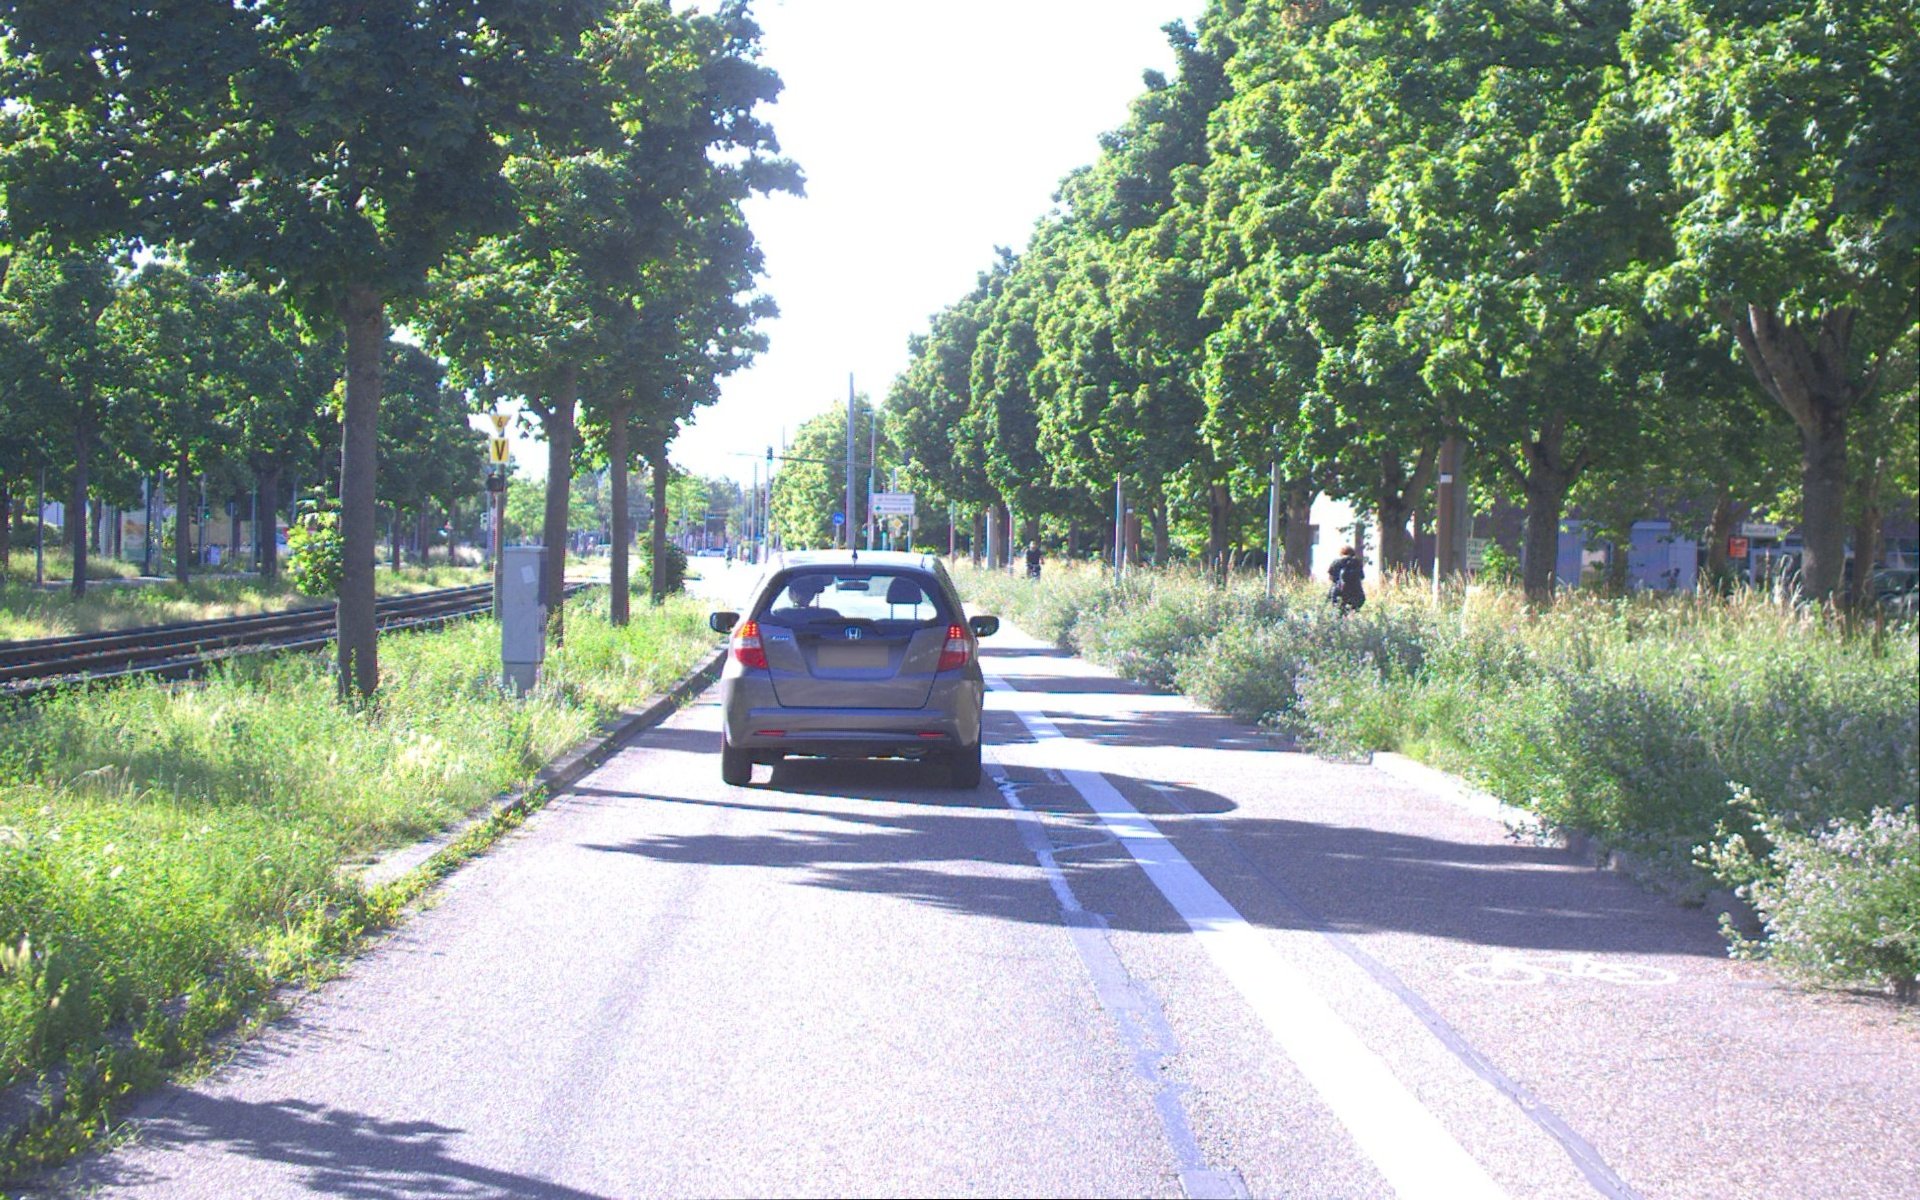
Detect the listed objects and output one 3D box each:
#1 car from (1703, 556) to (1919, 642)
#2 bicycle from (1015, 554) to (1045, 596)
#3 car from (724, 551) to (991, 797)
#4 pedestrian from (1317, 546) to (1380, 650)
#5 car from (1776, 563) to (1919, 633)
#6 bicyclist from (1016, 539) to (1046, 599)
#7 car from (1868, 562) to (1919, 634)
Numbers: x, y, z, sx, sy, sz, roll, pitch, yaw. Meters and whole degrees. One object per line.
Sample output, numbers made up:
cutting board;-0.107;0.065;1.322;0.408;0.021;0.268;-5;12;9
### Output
car;16.315;-0.023;65.212;3.993;1.520;1.707;1;1;-5
bicycle;2.038;-0.726;100.533;0.482;1.200;2.144;1;-1;-9
car;-0.714;0.435;23.019;1.624;1.494;3.457;1;1;-3
pedestrian;5.961;-0.037;52.742;0.824;1.563;0.762;2;1;-1
car;20.426;-0.038;76.002;4.356;1.454;1.689;1;1;1
bicyclist;2.071;-0.908;100.410;0.683;1.714;0.903;1;0;-9
car;20.781;0.010;69.790;4.165;1.427;1.824;2;1;1
